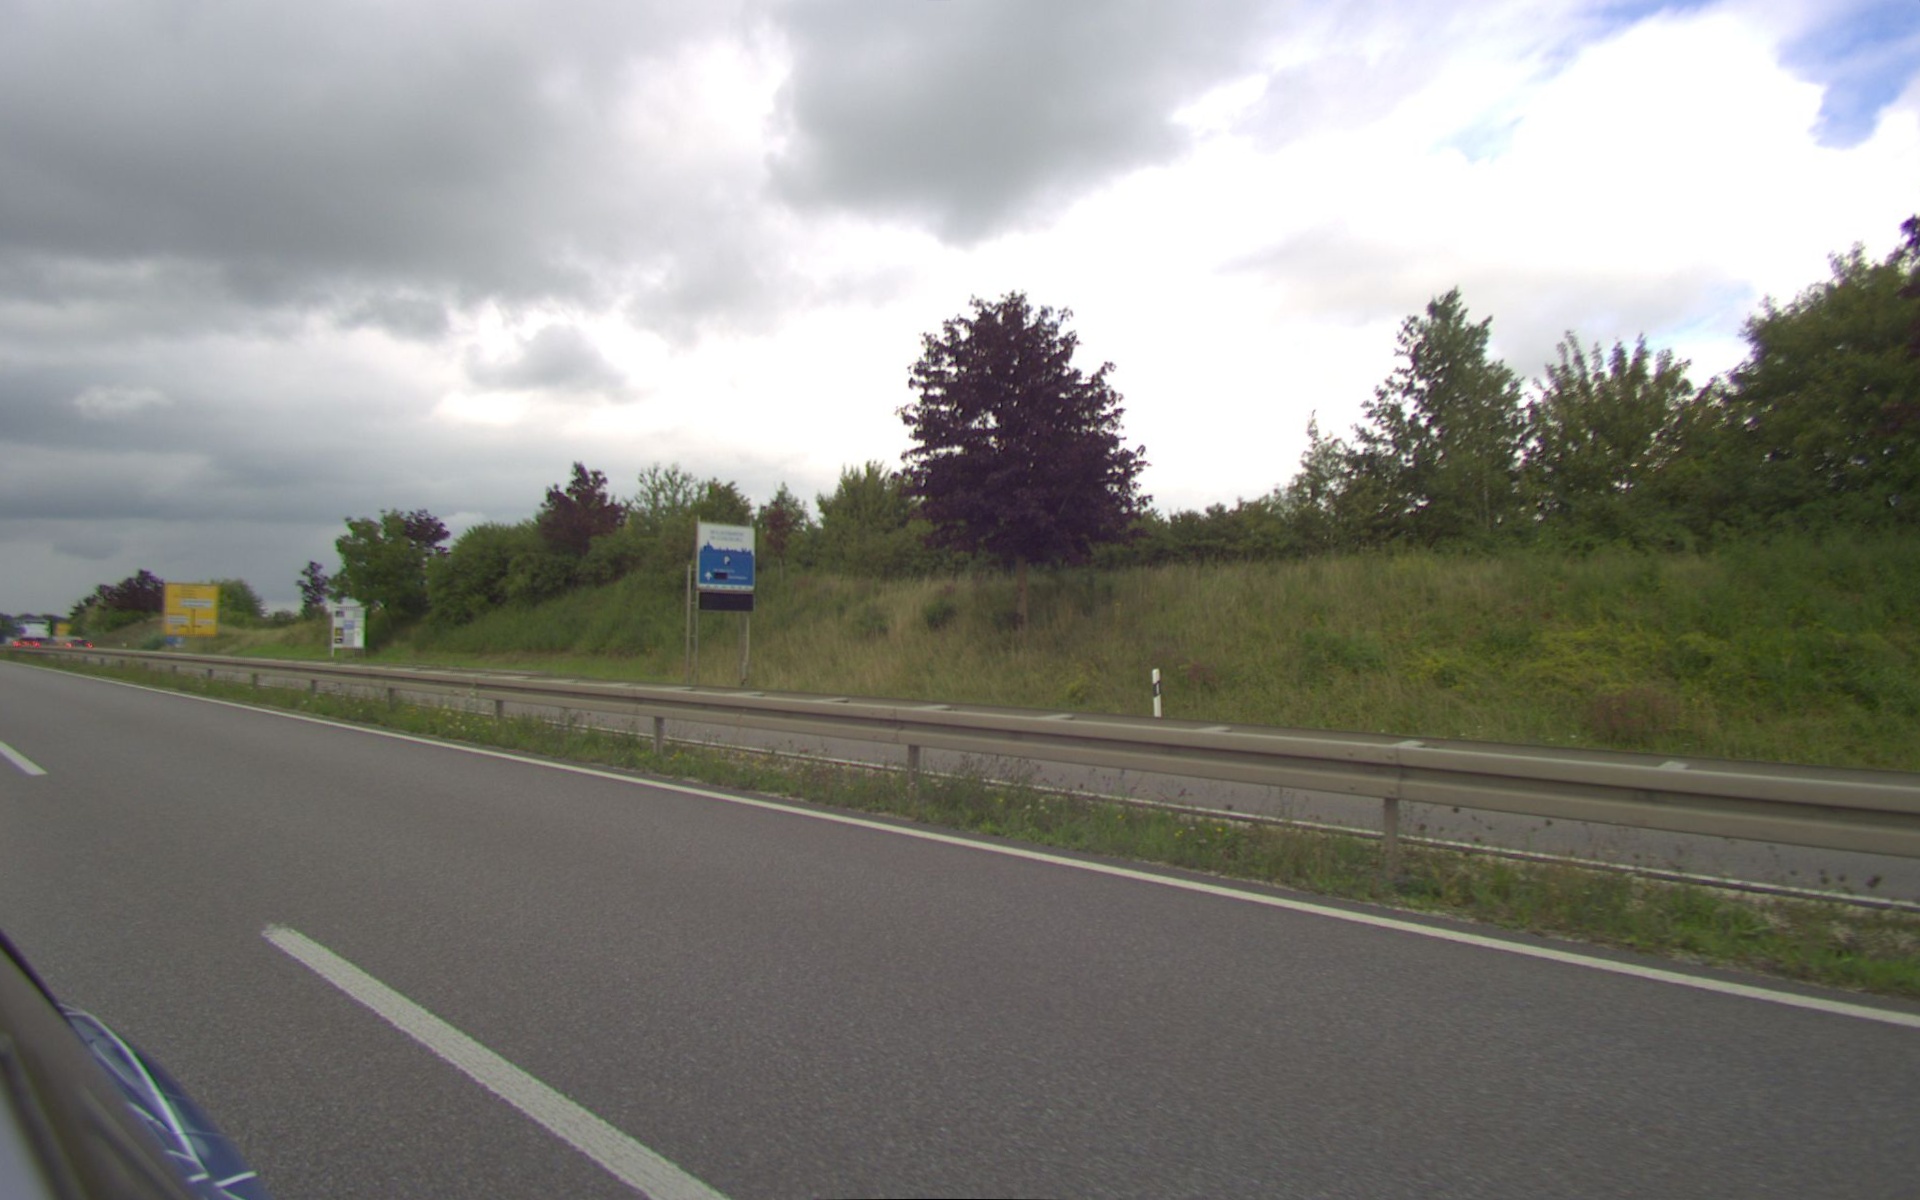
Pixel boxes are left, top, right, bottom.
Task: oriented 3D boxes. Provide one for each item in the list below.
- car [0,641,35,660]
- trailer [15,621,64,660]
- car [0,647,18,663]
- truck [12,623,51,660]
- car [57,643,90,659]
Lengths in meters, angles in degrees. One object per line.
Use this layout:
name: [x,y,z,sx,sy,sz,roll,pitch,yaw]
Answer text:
car: [-76.760,4.113,82.381,4.576,1.497,1.735,-3,-4,43]
trailer: [-100.063,4.439,109.907,12.984,3.977,2.745,-3,-4,43]
car: [-144.421,8.363,153.252,5.635,2.458,2.011,-3,-6,43]
truck: [-105.709,4.725,115.206,5.286,4.028,2.772,-4,-4,43]
car: [-76.750,4.410,87.599,4.416,1.334,1.673,-3,-4,43]
